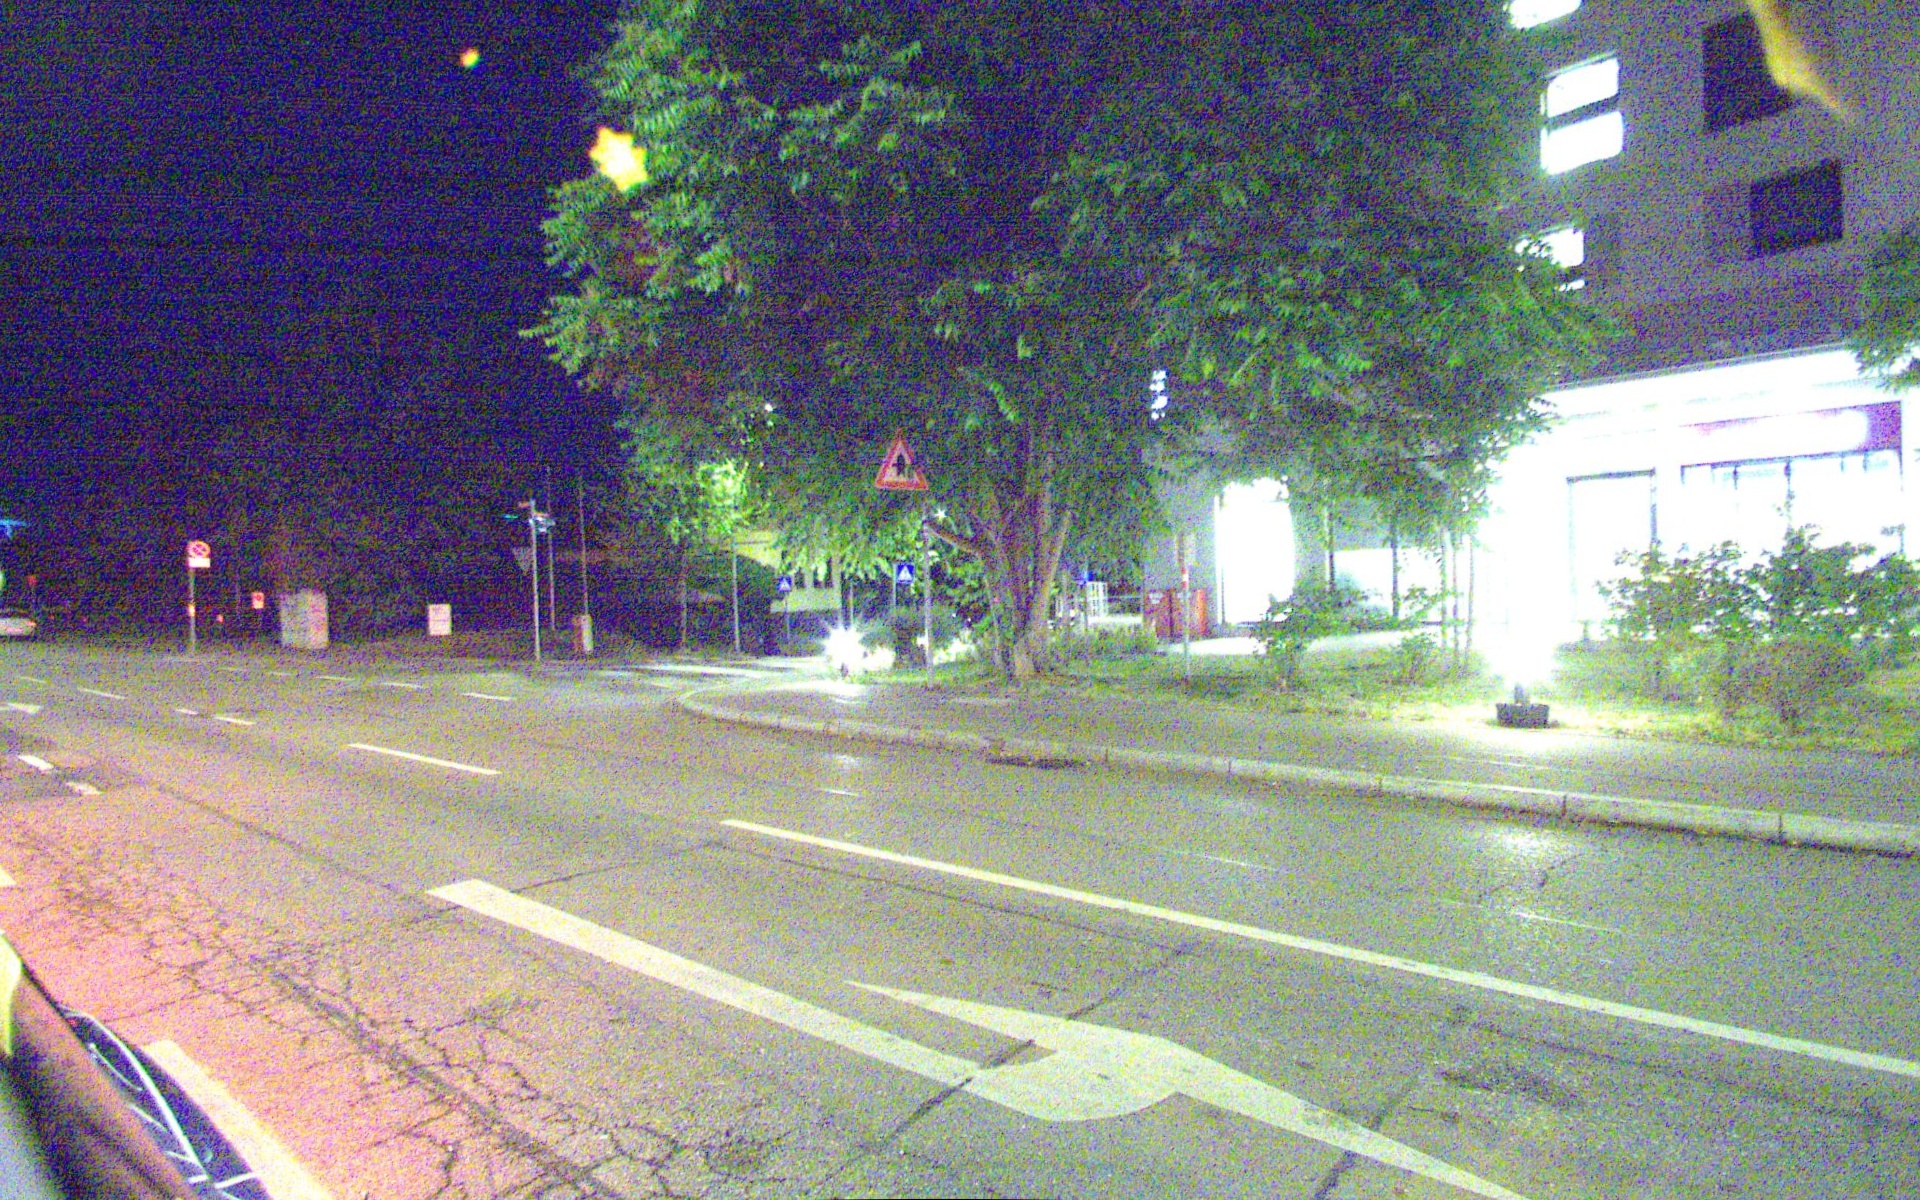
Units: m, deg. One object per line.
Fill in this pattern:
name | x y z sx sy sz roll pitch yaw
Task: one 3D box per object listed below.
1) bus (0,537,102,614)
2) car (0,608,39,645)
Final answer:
bus | -88.484 -2.151 98.024 14.776 6.990 6.056 -1 0 41
car | -43.121 1.192 45.639 3.996 1.604 1.784 -1 0 39
